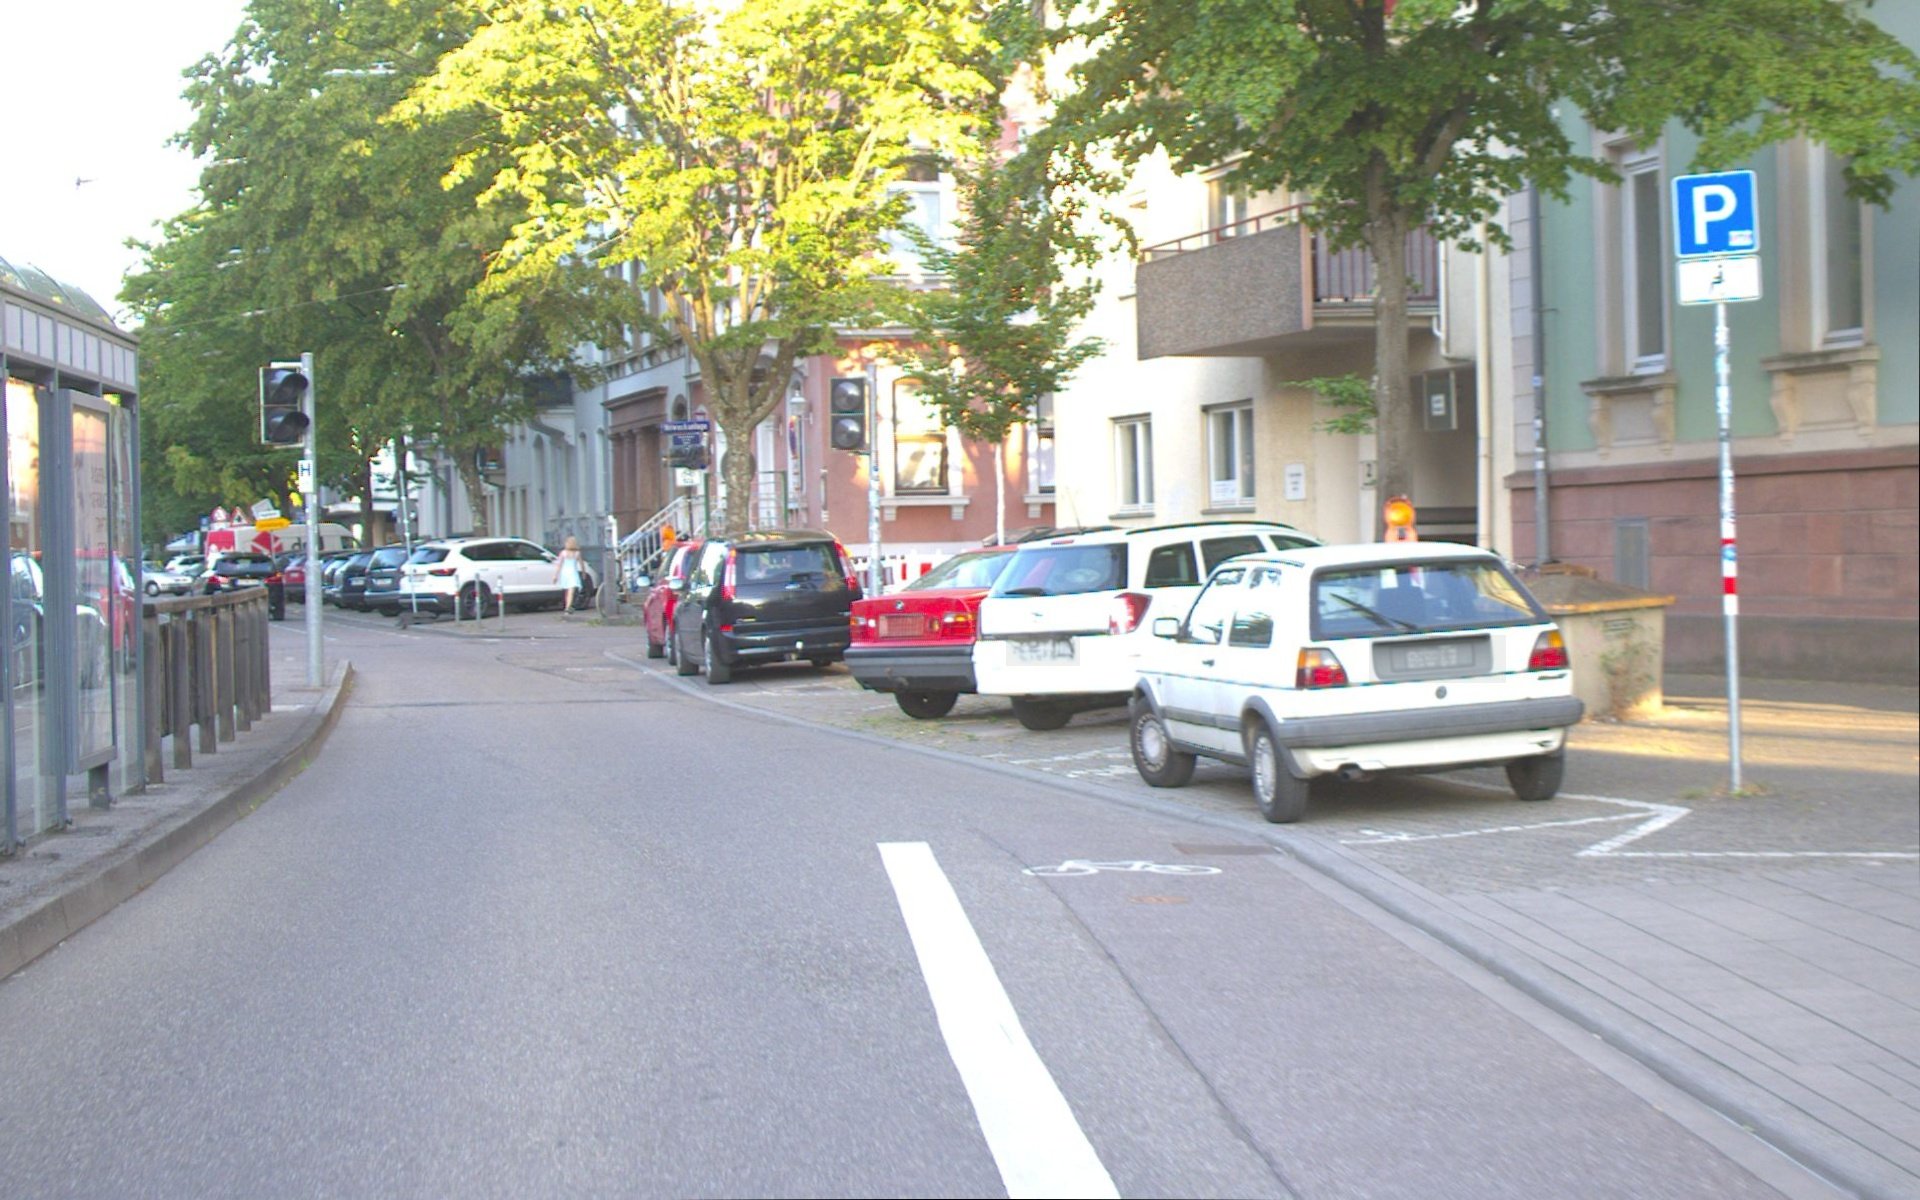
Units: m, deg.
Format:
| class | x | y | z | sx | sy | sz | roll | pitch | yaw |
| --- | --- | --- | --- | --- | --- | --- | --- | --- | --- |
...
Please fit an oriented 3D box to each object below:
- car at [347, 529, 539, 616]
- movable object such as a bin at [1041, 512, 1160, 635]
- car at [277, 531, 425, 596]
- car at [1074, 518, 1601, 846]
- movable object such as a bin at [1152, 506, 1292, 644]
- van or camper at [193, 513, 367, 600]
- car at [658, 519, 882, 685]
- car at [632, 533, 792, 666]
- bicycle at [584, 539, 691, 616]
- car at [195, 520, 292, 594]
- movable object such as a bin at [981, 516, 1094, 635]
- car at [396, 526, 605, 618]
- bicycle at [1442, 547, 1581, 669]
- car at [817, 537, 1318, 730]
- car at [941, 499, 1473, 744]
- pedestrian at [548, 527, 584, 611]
| class | x | y | z | sx | sy | sz | roll | pitch | yaw |
| --- | --- | --- | --- | --- | --- | --- | --- | --- | --- |
| car | -11.602 | -0.624 | 77.394 | 1.899 | 1.662 | 3.947 | -3 | 2 | 38 |
| movable object such as a bin | 1.745 | -0.336 | 42.876 | 1.140 | 1.497 | 1.271 | -1 | 1 | -15 |
| car | -18.666 | -1.118 | 105.445 | 3.945 | 1.598 | 1.839 | -7 | 3 | -41 |
| car | 2.011 | 0.382 | 19.545 | 1.679 | 1.547 | 4.001 | -4 | 2 | -13 |
| movable object such as a bin | 2.941 | -0.290 | 38.695 | 1.113 | 1.497 | 1.482 | -1 | 1 | -15 |
| van or camper | -23.098 | -1.491 | 116.897 | 2.085 | 2.521 | 5.537 | -3 | 2 | 41 |
| car | -2.139 | -0.012 | 37.694 | 1.743 | 1.626 | 4.089 | -3 | 1 | -12 |
| car | -3.184 | -0.031 | 43.601 | 1.564 | 1.530 | 3.694 | -3 | 1 | -10 |
| bicycle | -5.521 | -0.398 | 58.987 | 0.601 | 1.262 | 1.914 | -1 | 1 | 40 |
| car | -16.474 | -0.983 | 78.919 | 1.881 | 1.614 | 4.001 | 1 | 0 | -16 |
| movable object such as a bin | 0.983 | -0.324 | 44.179 | 1.072 | 1.497 | 1.319 | -1 | 1 | -17 |
| car | -9.344 | -0.574 | 70.046 | 1.673 | 1.621 | 3.945 | 0 | 4 | 45 |
| bicycle | 5.021 | 0.059 | 31.385 | 0.650 | 1.071 | 1.556 | -1 | 1 | -15 |
| car | 0.954 | 0.230 | 28.627 | 4.198 | 1.449 | 1.644 | -2 | 1 | -42 |
| car | 1.956 | 0.098 | 26.276 | 1.721 | 1.719 | 4.199 | 1 | 2 | 45 |
| pedestrian | -7.629 | -0.599 | 66.564 | 0.586 | 1.604 | 0.625 | -1 | 1 | -15 |
